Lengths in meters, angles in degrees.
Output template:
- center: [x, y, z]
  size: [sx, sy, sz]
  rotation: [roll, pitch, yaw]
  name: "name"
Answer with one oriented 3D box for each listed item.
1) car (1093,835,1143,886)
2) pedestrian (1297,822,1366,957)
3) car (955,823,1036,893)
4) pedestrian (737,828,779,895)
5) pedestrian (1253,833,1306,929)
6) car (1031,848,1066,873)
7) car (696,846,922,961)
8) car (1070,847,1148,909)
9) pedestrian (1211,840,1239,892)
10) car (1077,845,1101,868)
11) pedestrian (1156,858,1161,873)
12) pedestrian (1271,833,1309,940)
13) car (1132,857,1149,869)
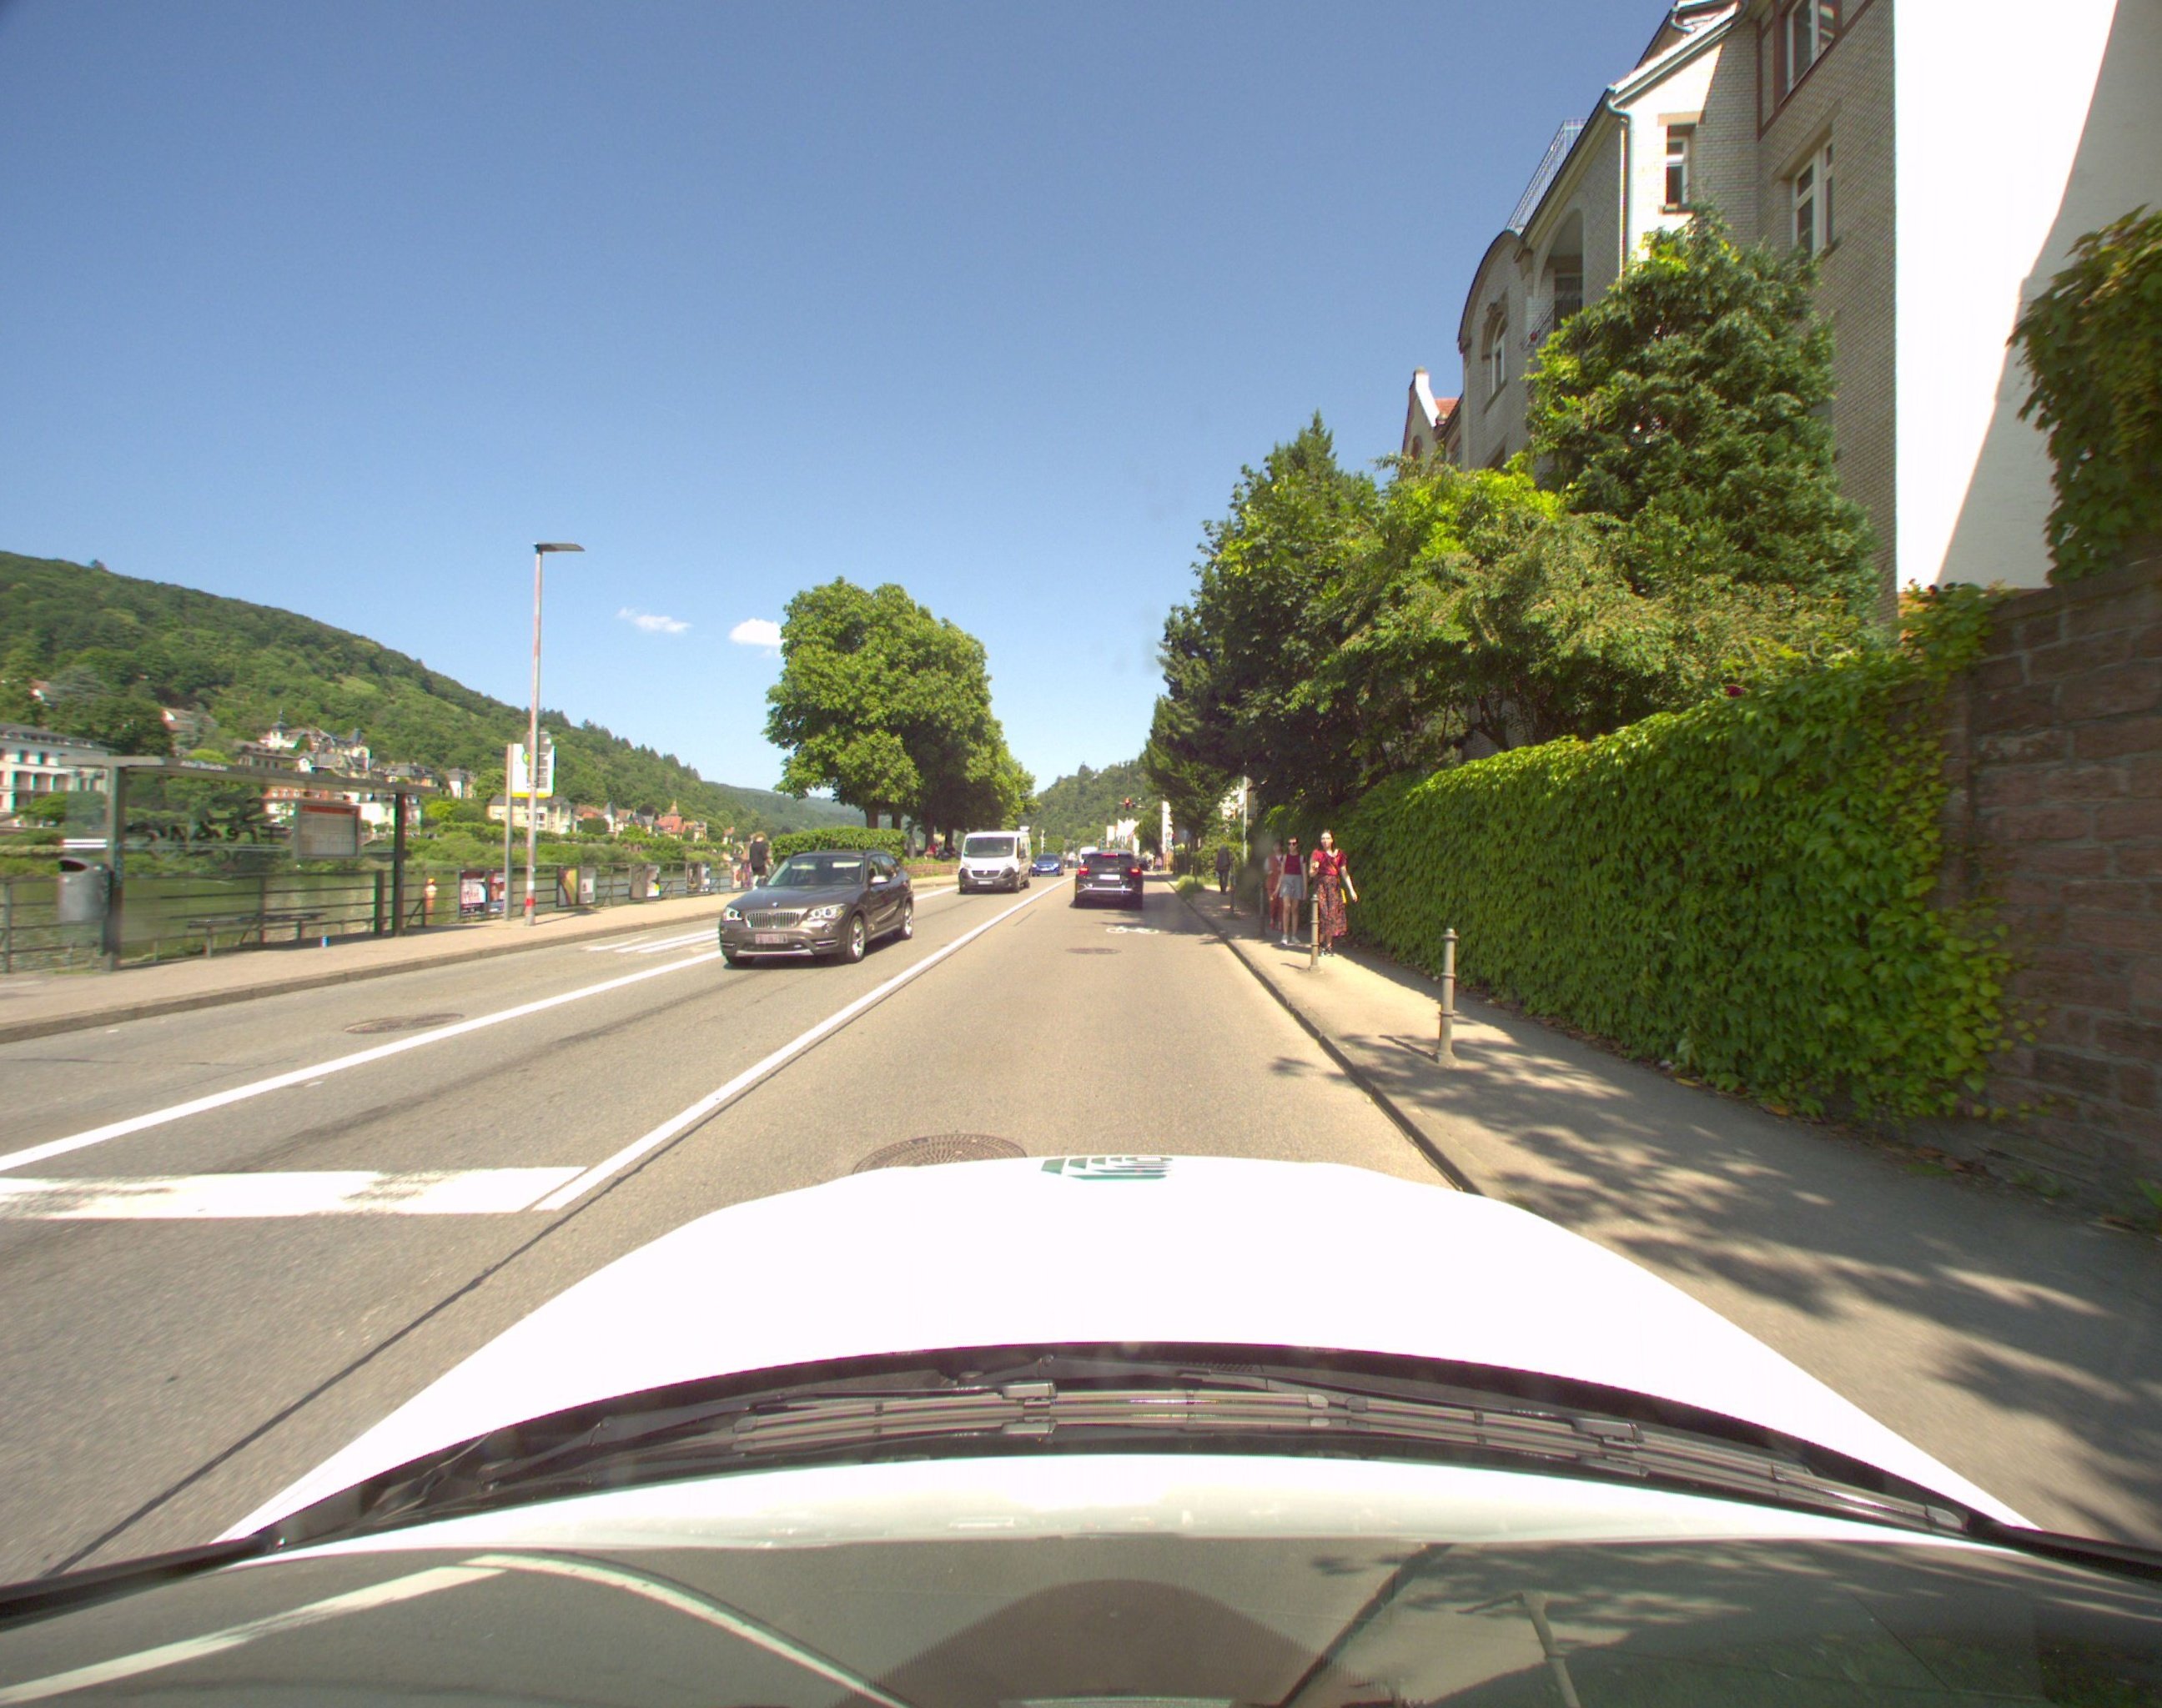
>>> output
- center: [1.567, 0.285, 34.146]
  size: [1.985, 2.014, 4.003]
  rotation: [0, -1, 3]
  name: "car"
- center: [3.362, 0.461, 10.978]
  size: [0.678, 1.742, 0.914]
  rotation: [0, 0, 2]
  name: "pedestrian"
- center: [-3.007, 0.101, 29.970]
  size: [2.088, 2.302, 5.872]
  rotation: [0, 1, 2]
  name: "car"
- center: [-9.435, 0.240, 23.812]
  size: [0.750, 1.918, 1.010]
  rotation: [0, -2, 3]
  name: "pedestrian"
- center: [3.488, 0.453, 14.366]
  size: [0.732, 1.634, 0.921]
  rotation: [0, 0, 2]
  name: "pedestrian"
- center: [-2.010, 0.461, 51.073]
  size: [1.891, 1.489, 3.798]
  rotation: [0, -1, 3]
  name: "car"
- center: [-3.825, 0.603, 12.354]
  size: [1.808, 1.398, 4.349]
  rotation: [-1, 1, 2]
  name: "car"
- center: [0.853, 0.582, 22.315]
  size: [1.848, 1.524, 4.006]
  rotation: [1, 0, 5]
  name: "car"
- center: [4.733, 0.400, 26.775]
  size: [0.725, 1.650, 0.882]
  rotation: [-3, 0, 3]
  name: "pedestrian"
- center: [0.933, 0.376, 93.034]
  size: [2.484, 2.466, 5.623]
  rotation: [0, -2, 3]
  name: "car"
- center: [8.519, 1.272, 89.742]
  size: [0.487, 1.559, 0.462]
  rotation: [0, -2, 3]
  name: "pedestrian"
- center: [3.230, 0.492, 12.604]
  size: [0.454, 1.606, 0.580]
  rotation: [0, 0, 2]
  name: "pedestrian"
- center: [7.507, 1.144, 102.925]
  size: [1.985, 1.453, 4.011]
  rotation: [0, -2, 3]
  name: "car"
